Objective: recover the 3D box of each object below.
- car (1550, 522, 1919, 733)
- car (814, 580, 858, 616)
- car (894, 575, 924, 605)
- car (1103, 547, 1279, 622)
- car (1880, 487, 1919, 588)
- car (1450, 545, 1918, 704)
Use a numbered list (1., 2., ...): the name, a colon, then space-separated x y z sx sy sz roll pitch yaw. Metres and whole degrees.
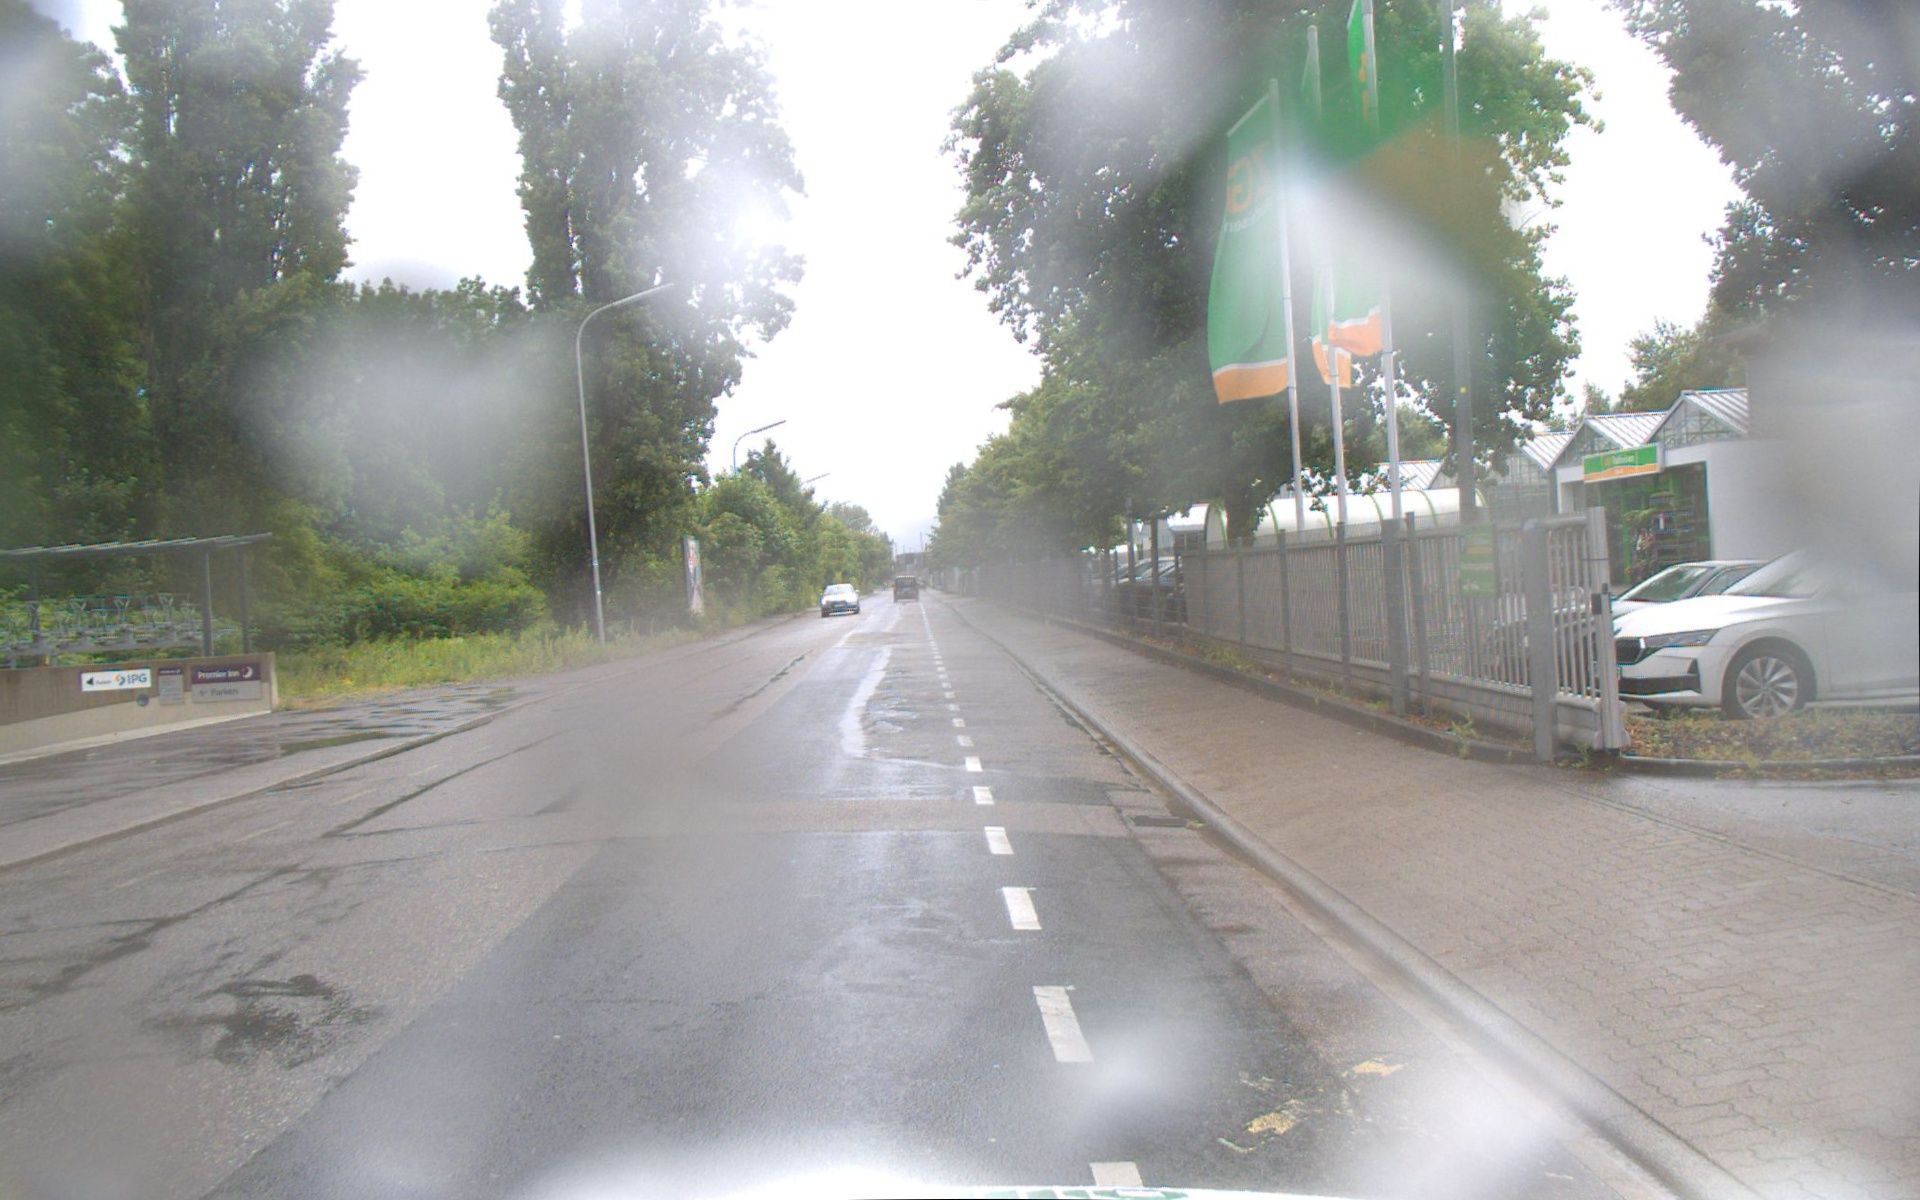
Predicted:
1. car: 7.518 0.129 13.593 4.610 1.488 1.889 -3 0 -3
2. car: -5.990 -0.115 80.229 1.699 1.475 4.380 -6 1 -1
3. car: -3.628 -0.705 117.517 1.954 1.943 4.199 -4 0 -2
4. car: 6.012 -0.417 43.205 4.131 1.646 1.820 -4 1 -9
5. car: 19.855 -1.313 30.746 4.274 1.864 2.063 -4 1 0
6. car: 6.999 0.221 16.216 3.860 1.278 1.618 -3 0 -3
